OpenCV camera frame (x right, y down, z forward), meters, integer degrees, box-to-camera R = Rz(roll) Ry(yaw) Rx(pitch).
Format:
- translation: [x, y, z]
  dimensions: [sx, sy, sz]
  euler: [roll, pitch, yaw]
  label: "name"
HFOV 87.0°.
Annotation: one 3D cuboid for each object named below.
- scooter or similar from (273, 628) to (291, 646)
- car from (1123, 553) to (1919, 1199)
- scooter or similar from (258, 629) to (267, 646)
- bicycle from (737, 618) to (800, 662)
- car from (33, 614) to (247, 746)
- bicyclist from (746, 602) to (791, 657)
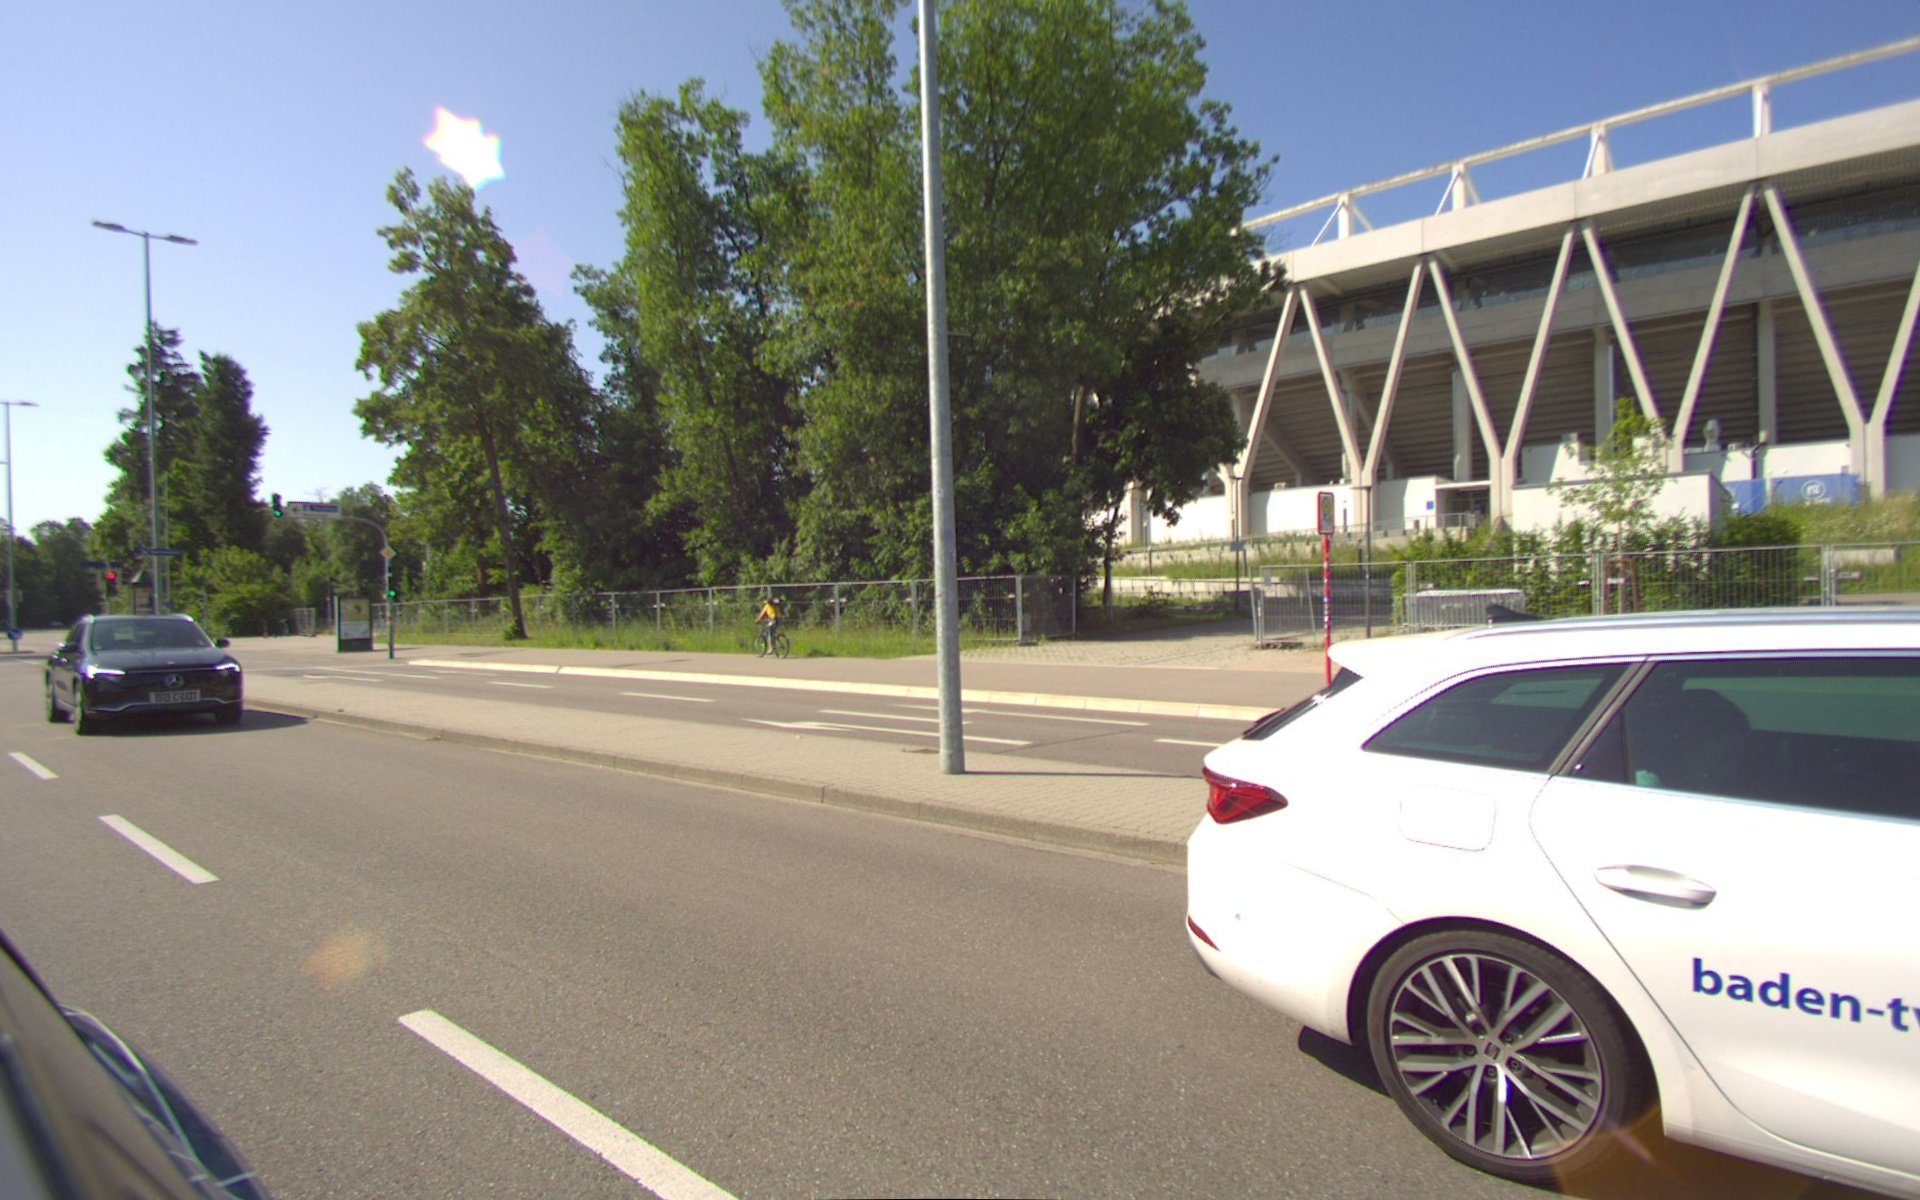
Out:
- translation: [-48.377, 2.629, 72.232]
  dimensions: [0.393, 1.231, 1.075]
  euler: [-2, -1, 18]
  label: "scooter or similar"
- translation: [2.844, 0.619, 2.257]
  dimensions: [4.718, 1.437, 1.707]
  euler: [-2, -2, 41]
  label: "car"
- translation: [-49.226, 2.634, 71.418]
  dimensions: [0.390, 1.154, 1.198]
  euler: [-1, -1, -42]
  label: "scooter or similar"
- translation: [-5.314, 1.105, 28.015]
  dimensions: [1.877, 1.144, 0.653]
  euler: [-2, 1, 40]
  label: "bicycle"
- translation: [-12.073, 1.059, 14.799]
  dimensions: [4.272, 1.608, 1.785]
  euler: [-2, -1, 42]
  label: "car"
- translation: [-5.283, 0.816, 27.950]
  dimensions: [1.056, 1.478, 0.653]
  euler: [-2, 1, 40]
  label: "bicyclist"
